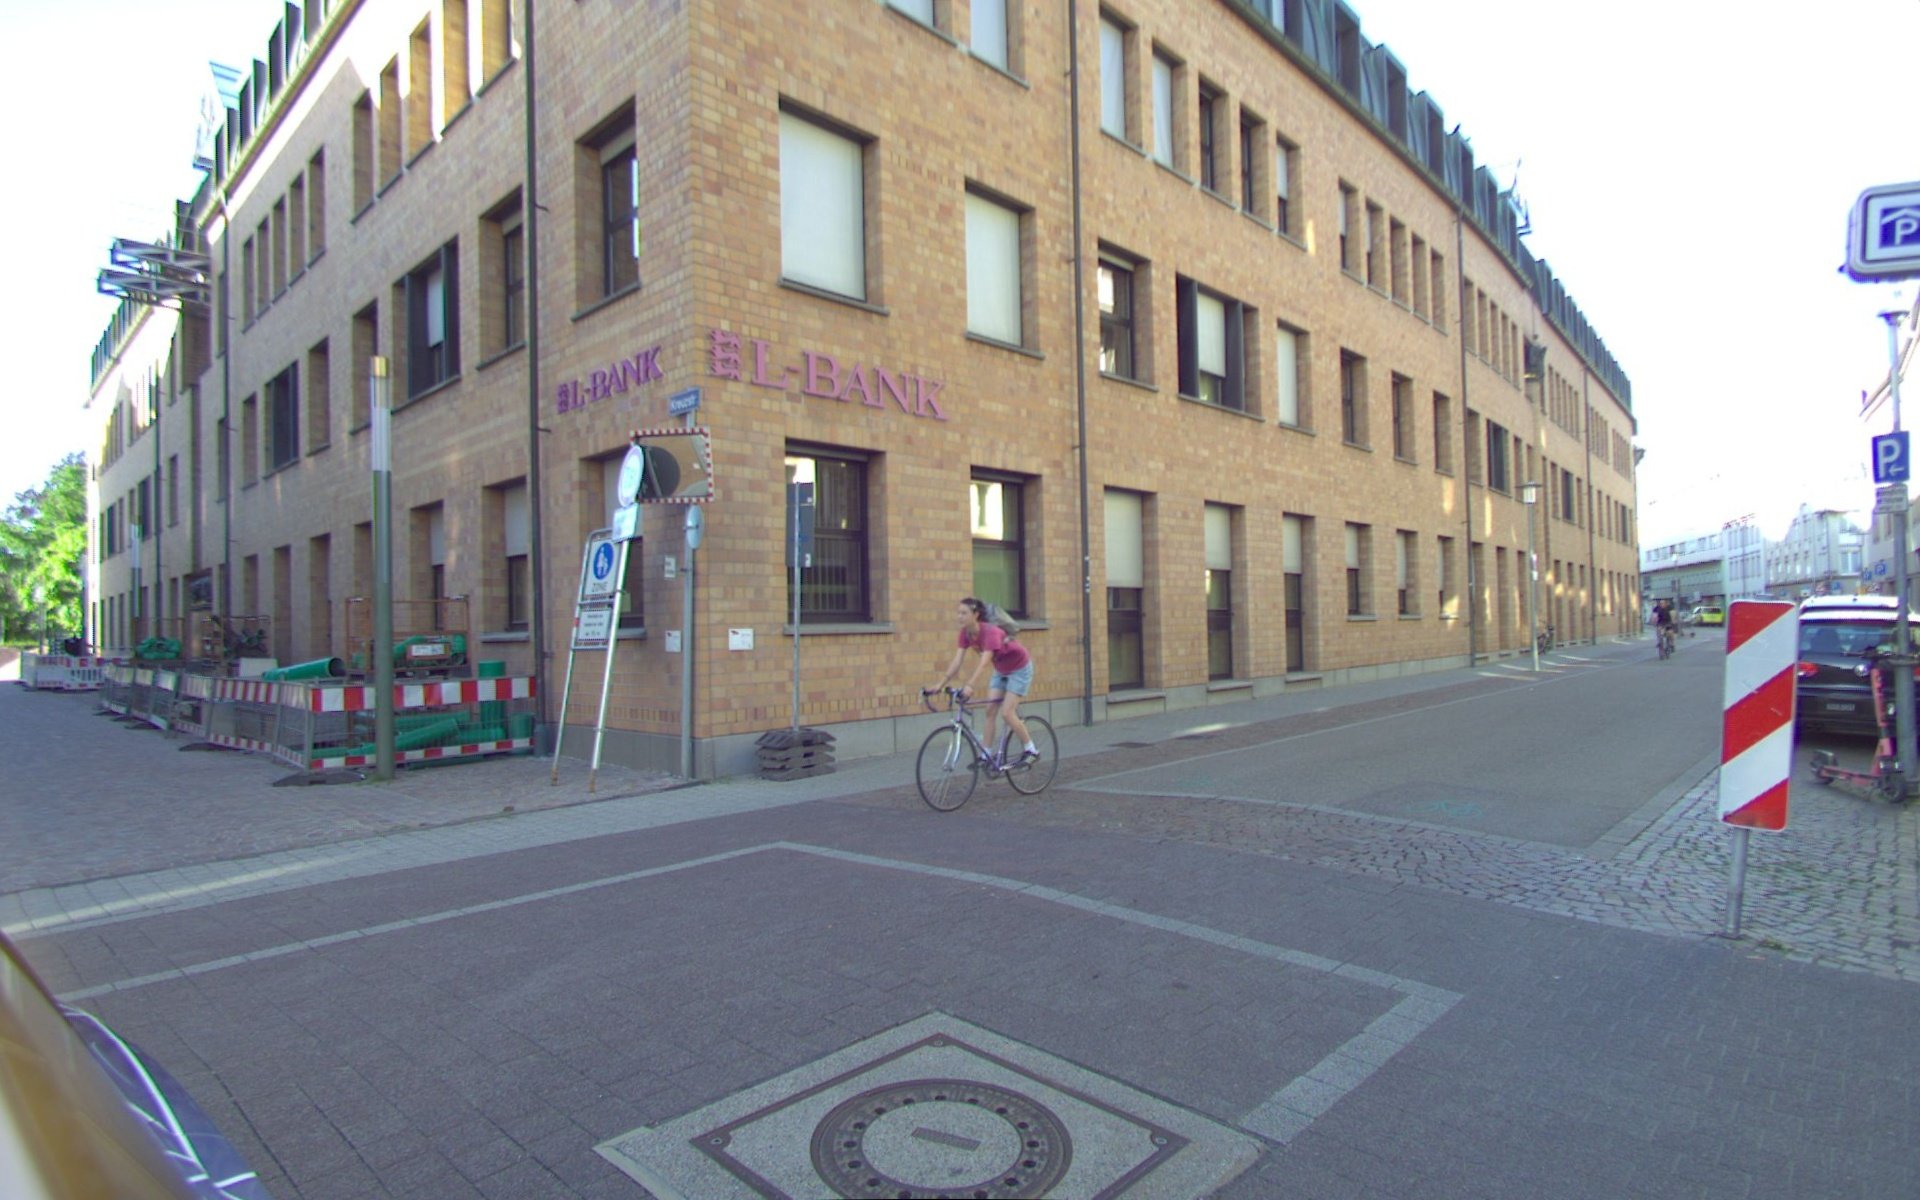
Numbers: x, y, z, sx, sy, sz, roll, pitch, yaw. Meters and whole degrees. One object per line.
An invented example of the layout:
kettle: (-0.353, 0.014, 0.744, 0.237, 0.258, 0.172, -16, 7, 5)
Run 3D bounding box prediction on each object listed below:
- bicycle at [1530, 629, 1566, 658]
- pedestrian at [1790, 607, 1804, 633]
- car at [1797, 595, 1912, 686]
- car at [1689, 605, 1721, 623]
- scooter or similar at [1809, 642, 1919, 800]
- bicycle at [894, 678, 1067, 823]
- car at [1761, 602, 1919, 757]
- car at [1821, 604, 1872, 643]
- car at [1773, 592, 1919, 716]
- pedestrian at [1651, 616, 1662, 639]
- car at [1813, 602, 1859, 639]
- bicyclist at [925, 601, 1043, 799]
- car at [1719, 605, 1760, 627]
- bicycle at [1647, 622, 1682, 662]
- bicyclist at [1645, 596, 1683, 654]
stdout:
bicycle: (19.636, 1.432, 33.763, 0.642, 0.888, 2.522, -1, -1, 40)
pedestrian: (48.705, 1.190, 58.889, 0.570, 1.490, 0.468, -2, -2, 36)
car: (18.605, 0.775, 21.040, 1.674, 1.717, 3.956, 0, -1, 42)
car: (70.519, 1.351, 95.877, 1.927, 1.663, 3.799, -1, -1, 29)
scooter or similar: (7.350, 0.943, 8.178, 0.206, 1.193, 0.881, -1, -2, 3)
bicycle: (0.199, 1.159, 8.150, 0.436, 0.964, 1.568, -3, -2, 43)
car: (10.392, 0.780, 11.525, 1.741, 1.497, 3.758, 0, 0, 42)
car: (40.232, 1.034, 45.999, 1.693, 1.692, 3.460, 0, -1, 40)
car: (13.798, 0.744, 15.637, 1.674, 1.674, 4.023, 0, -1, 42)
pedestrian: (47.783, 1.903, 69.406, 0.543, 1.556, 0.399, -1, -1, 42)
car: (43.605, 0.991, 50.434, 1.693, 1.789, 3.606, 0, -1, 40)
bicyclist: (0.202, 0.777, 8.196, 0.428, 1.509, 0.863, -5, -4, 44)
car: (62.760, 1.287, 81.544, 1.927, 1.663, 3.799, -2, -2, 29)
bicycle: (20.786, 1.231, 29.855, 0.704, 1.112, 1.805, -7, -5, 37)
bicyclist: (20.790, 0.745, 29.893, 0.771, 1.668, 0.945, -6, -5, 36)
